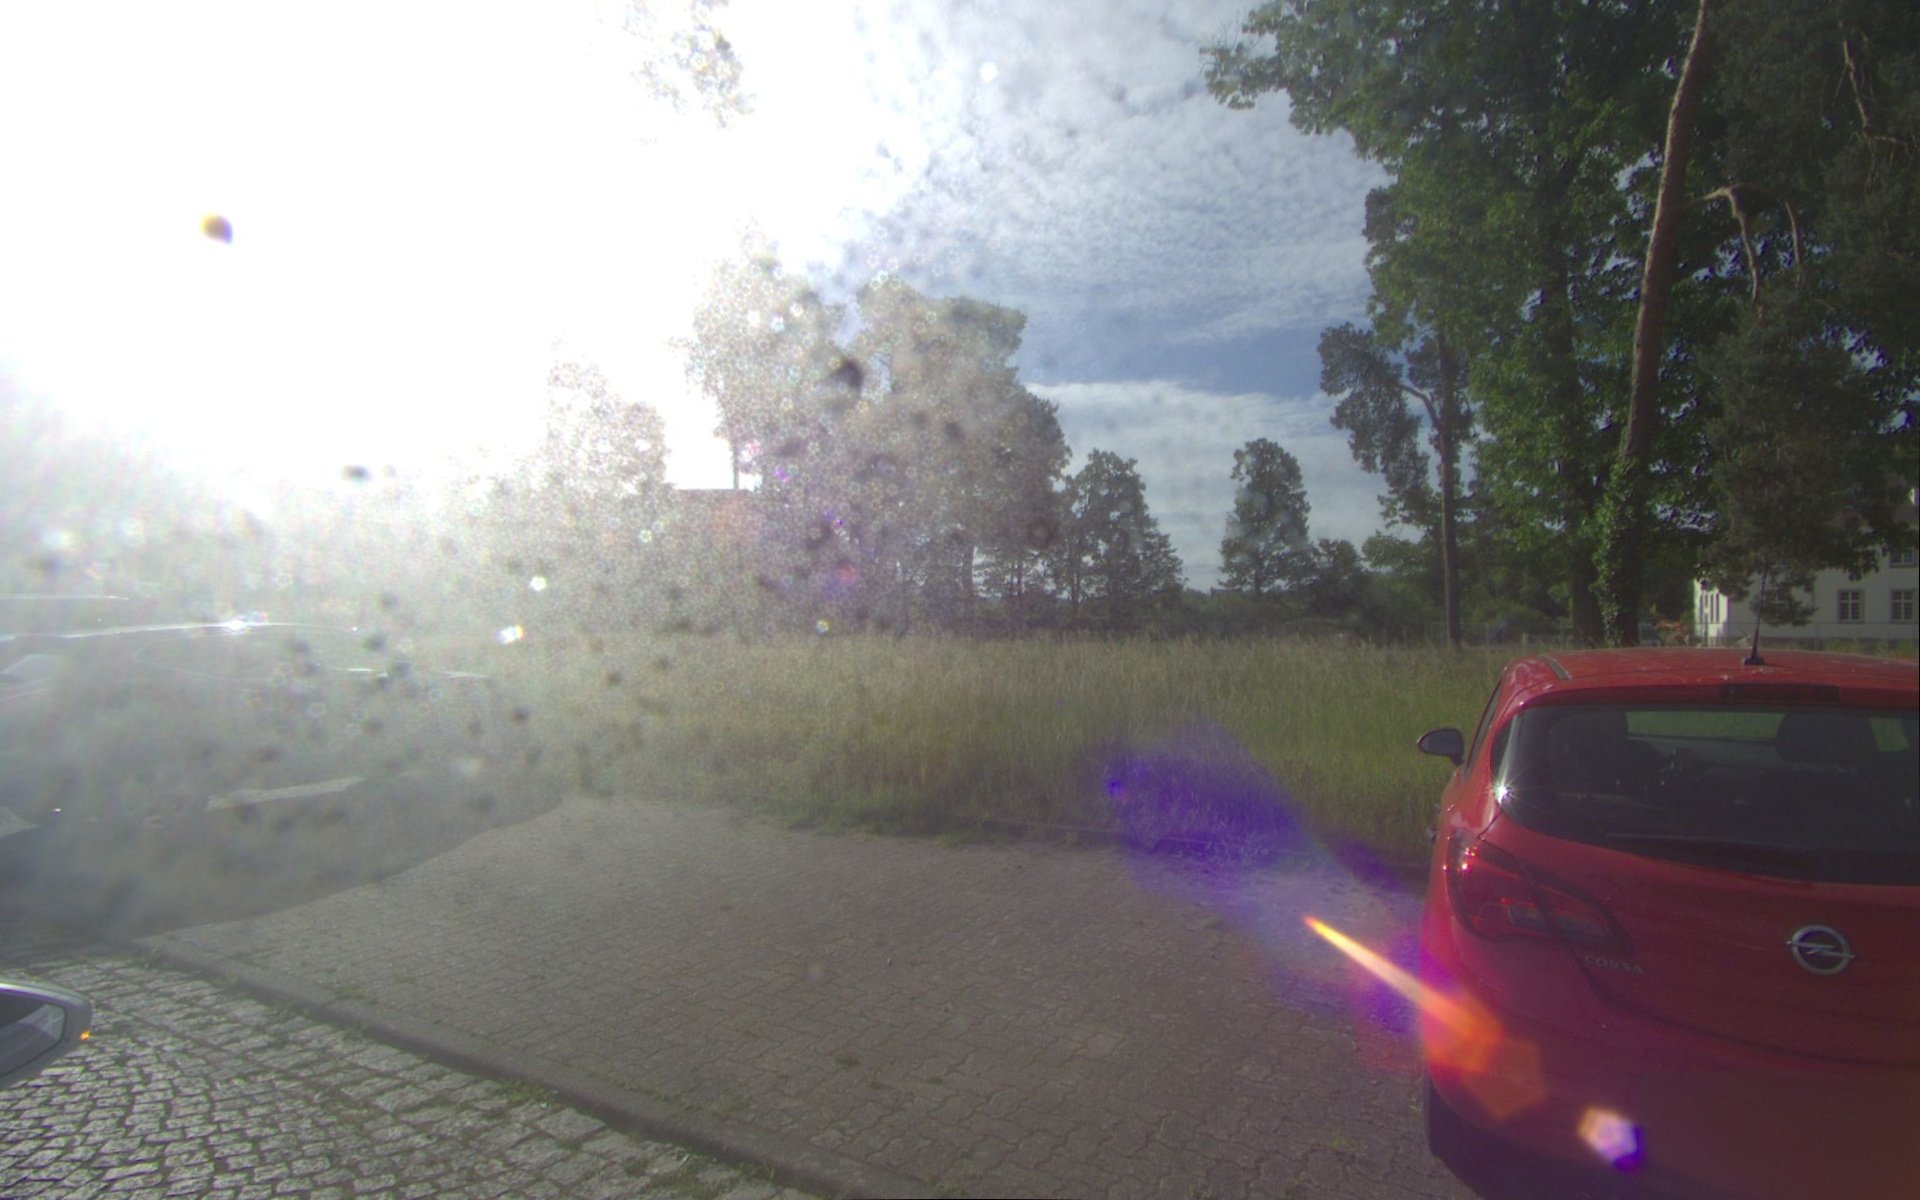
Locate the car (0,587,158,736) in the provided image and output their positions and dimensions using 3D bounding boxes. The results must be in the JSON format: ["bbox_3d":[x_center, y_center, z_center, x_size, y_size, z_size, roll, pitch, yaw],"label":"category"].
[{"bbox_3d":[-13.731,0.831,13.041,1.962,1.954,4.727,-1,0,29],"label":"car"}]

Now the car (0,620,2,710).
[{"bbox_3d":[-18.144,1.101,15.933,1.781,1.550,3.870,-1,-1,30],"label":"car"}]

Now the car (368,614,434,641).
[{"bbox_3d":[-53.759,2.671,96.438,2.231,2.568,5.152,-1,-2,31],"label":"car"}]

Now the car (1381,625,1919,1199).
[{"bbox_3d":[2.716,0.876,3.834,1.661,1.492,3.873,-1,-1,28],"label":"car"}]

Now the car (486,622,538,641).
[{"bbox_3d":[-39.770,2.801,88.949,1.827,1.701,3.931,-1,-2,27],"label":"car"}]

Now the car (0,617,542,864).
[{"bbox_3d":[-6.072,0.965,8.826,1.849,1.609,4.187,-1,-1,28],"label":"car"}]

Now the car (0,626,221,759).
[{"bbox_3d":[-11.554,1.068,11.849,1.779,1.488,4.190,-1,-1,26],"label":"car"}]
